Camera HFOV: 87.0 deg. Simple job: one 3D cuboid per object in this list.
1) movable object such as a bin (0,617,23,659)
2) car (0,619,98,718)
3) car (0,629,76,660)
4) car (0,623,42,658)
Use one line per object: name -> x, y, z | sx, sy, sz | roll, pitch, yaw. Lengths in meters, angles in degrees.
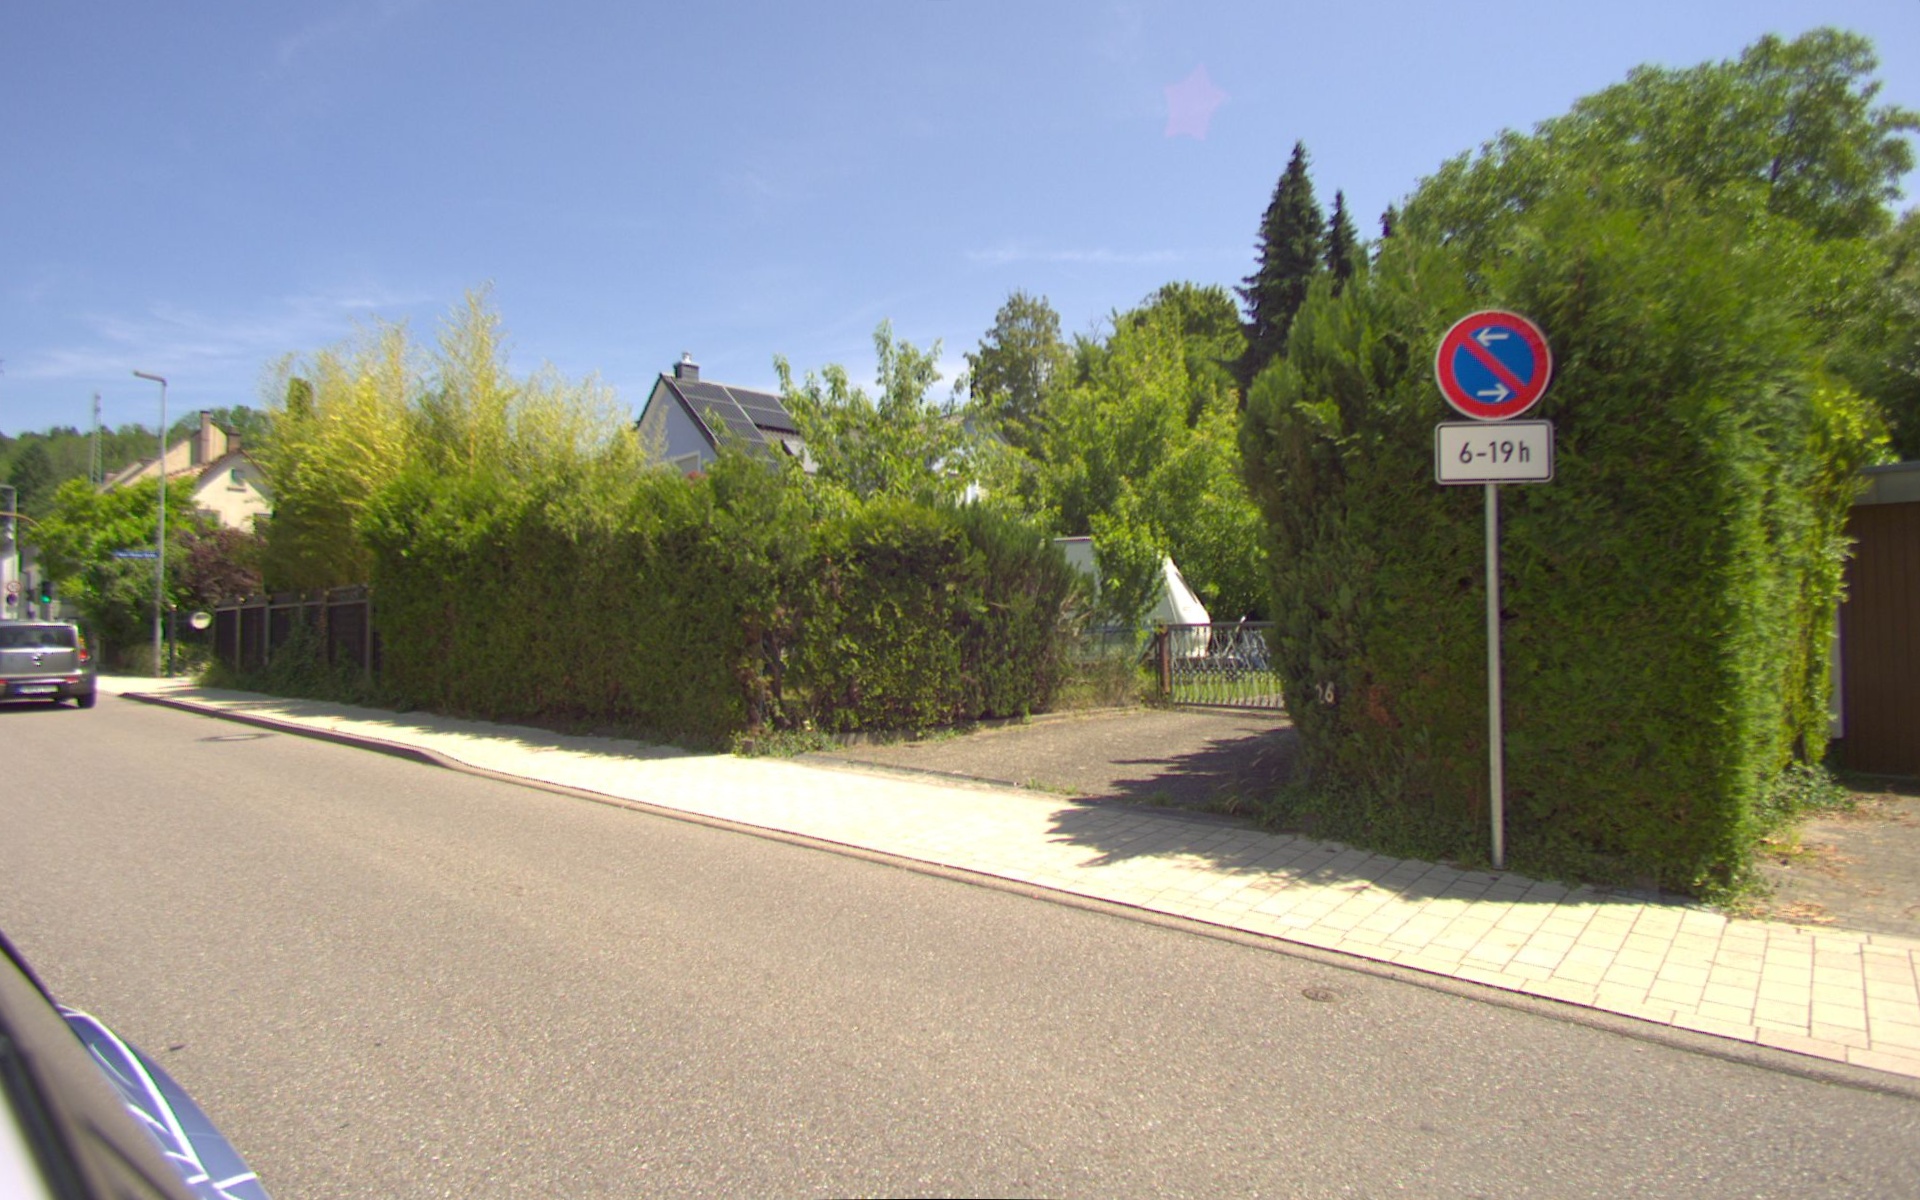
movable object such as a bin -> -47.616, 1.879, 50.585 | 1.322, 2.029, 1.048 | -1, -1, 41
car -> -17.522, 1.232, 18.722 | 3.947, 1.665, 1.848 | -2, -2, 41
car -> -48.428, 2.291, 52.207 | 3.985, 1.511, 1.707 | 0, -1, -10
car -> -52.009, 2.186, 54.507 | 1.847, 1.804, 3.560 | -1, -1, 40
